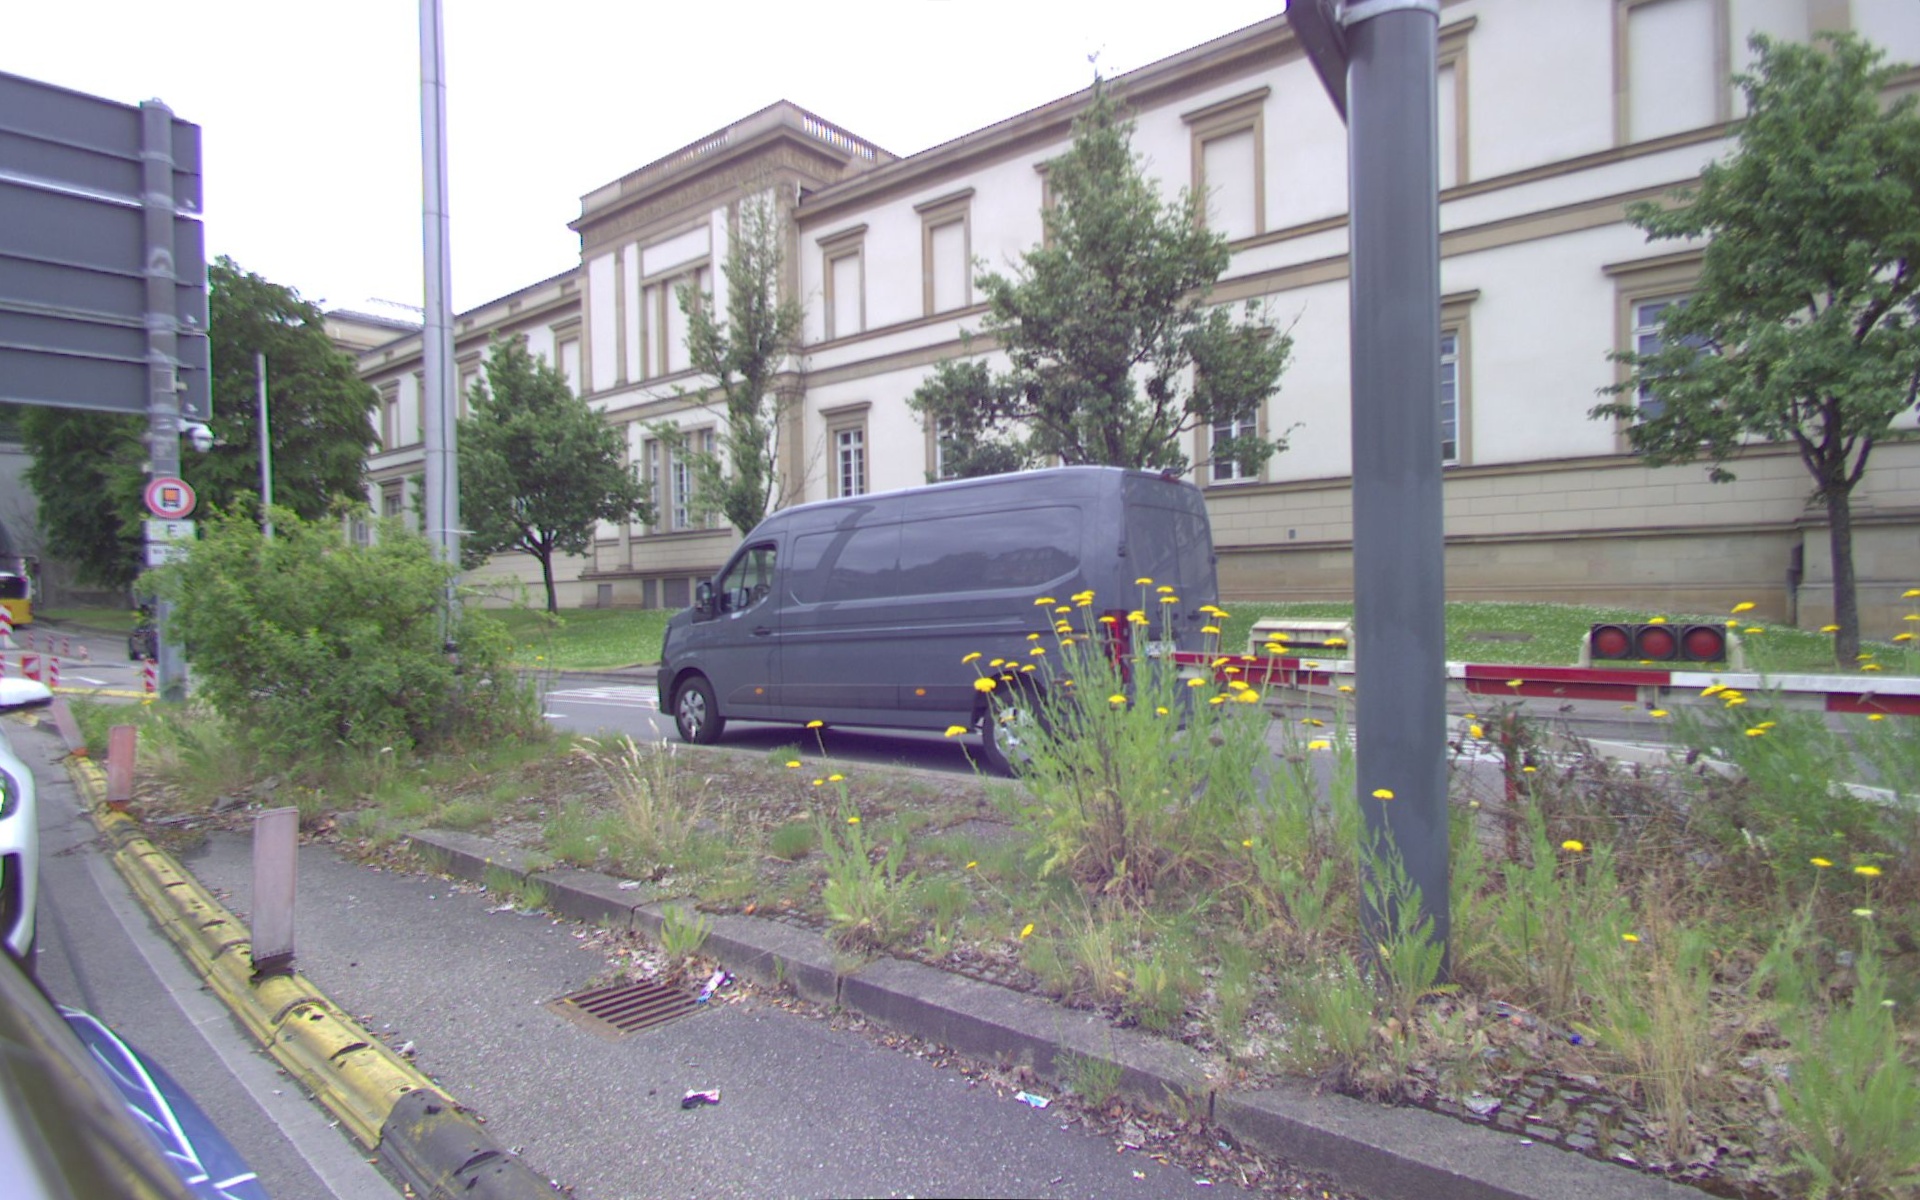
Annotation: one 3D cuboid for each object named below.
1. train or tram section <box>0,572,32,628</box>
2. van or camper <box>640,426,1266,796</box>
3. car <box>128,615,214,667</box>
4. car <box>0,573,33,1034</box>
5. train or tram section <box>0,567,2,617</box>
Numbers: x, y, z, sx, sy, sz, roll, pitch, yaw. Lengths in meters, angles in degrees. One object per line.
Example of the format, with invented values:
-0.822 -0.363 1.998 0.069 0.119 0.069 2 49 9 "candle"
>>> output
-56.659 0.107 58.777 9.326 3.094 2.667 -2 -2 39 "train or tram section"
-0.388 0.144 9.900 6.074 2.630 2.132 -2 -1 38 "van or camper"
-27.678 1.379 35.462 4.373 1.638 1.858 -1 0 45 "car"
-5.233 0.719 4.206 3.911 1.568 1.733 -1 0 43 "car"
-63.945 -0.425 64.659 9.364 3.094 2.668 -1 -2 38 "train or tram section"
